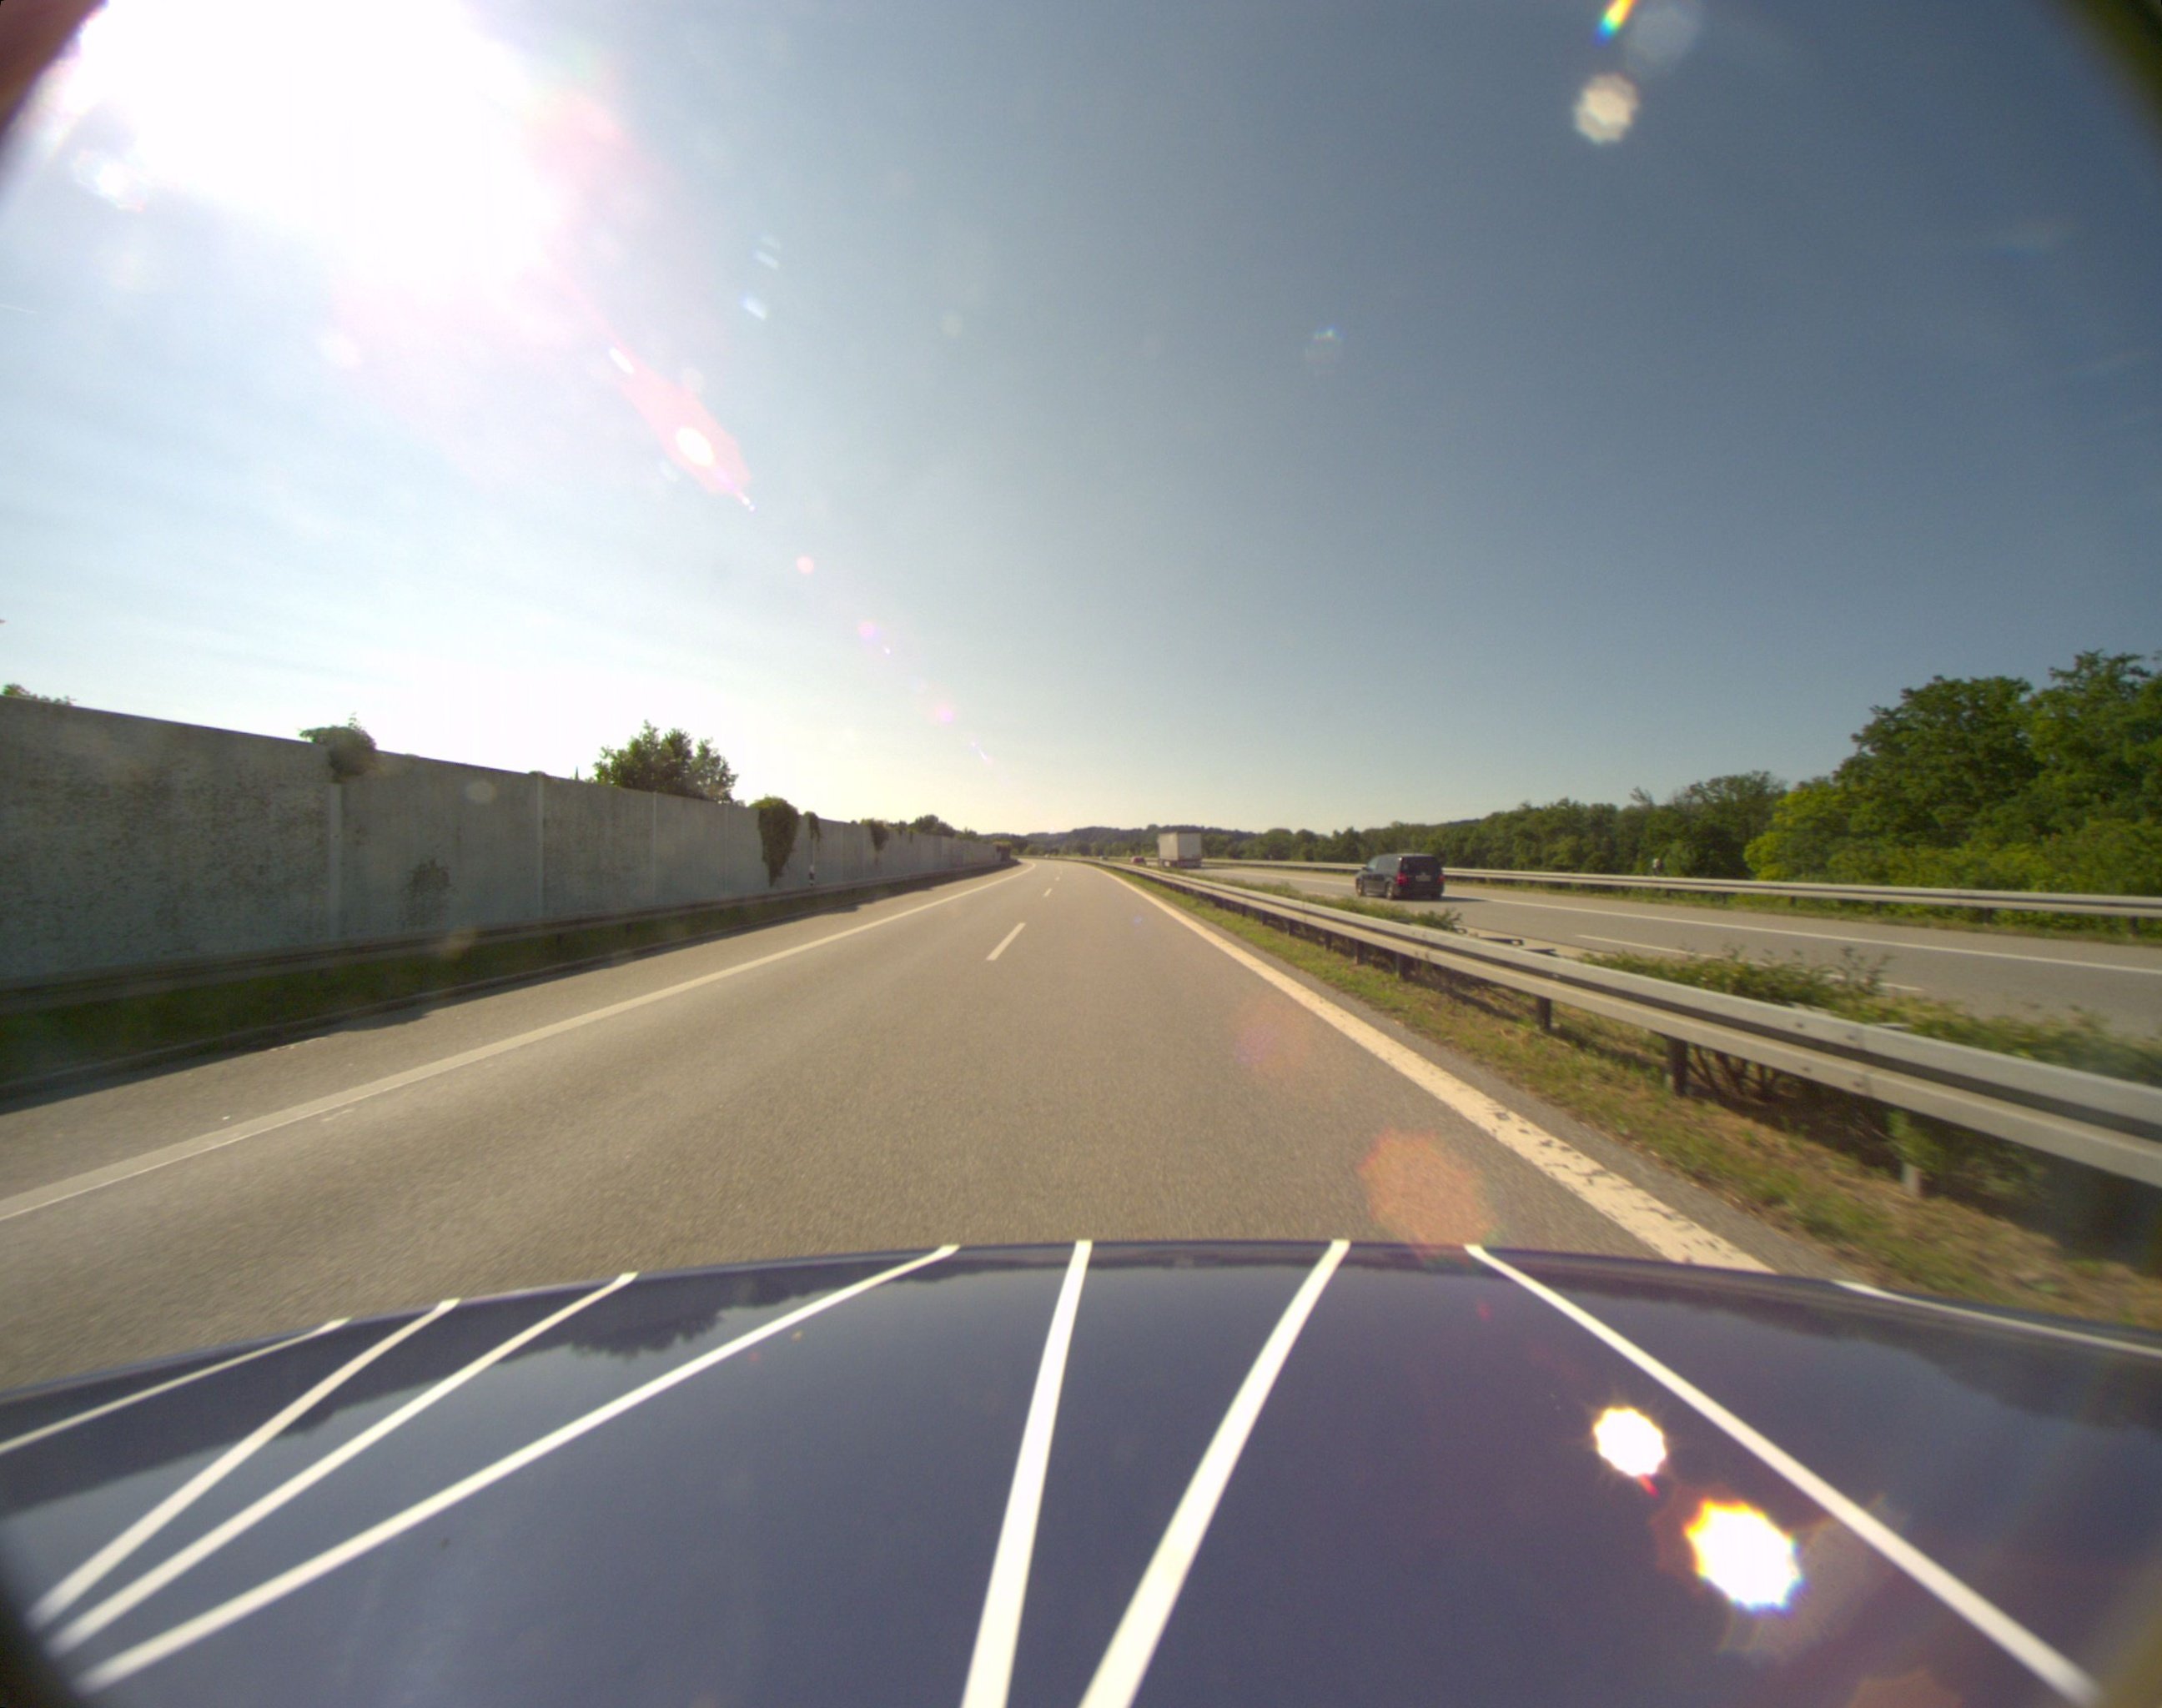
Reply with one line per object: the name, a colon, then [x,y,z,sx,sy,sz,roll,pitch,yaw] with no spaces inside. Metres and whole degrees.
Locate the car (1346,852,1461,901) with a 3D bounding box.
car: [11.421,0.721,27.333,1.965,1.591,4.867,-1,0,-1]

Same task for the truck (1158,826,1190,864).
truck: [11.280,-1.089,92.483,3.103,4.428,5.111,-1,1,-1]

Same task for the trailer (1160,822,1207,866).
trailer: [11.403,-1.065,85.756,3.103,4.428,13.745,-1,0,-1]

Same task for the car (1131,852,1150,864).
car: [6.802,0.448,87.144,1.771,1.395,3.999,-1,0,-2]
